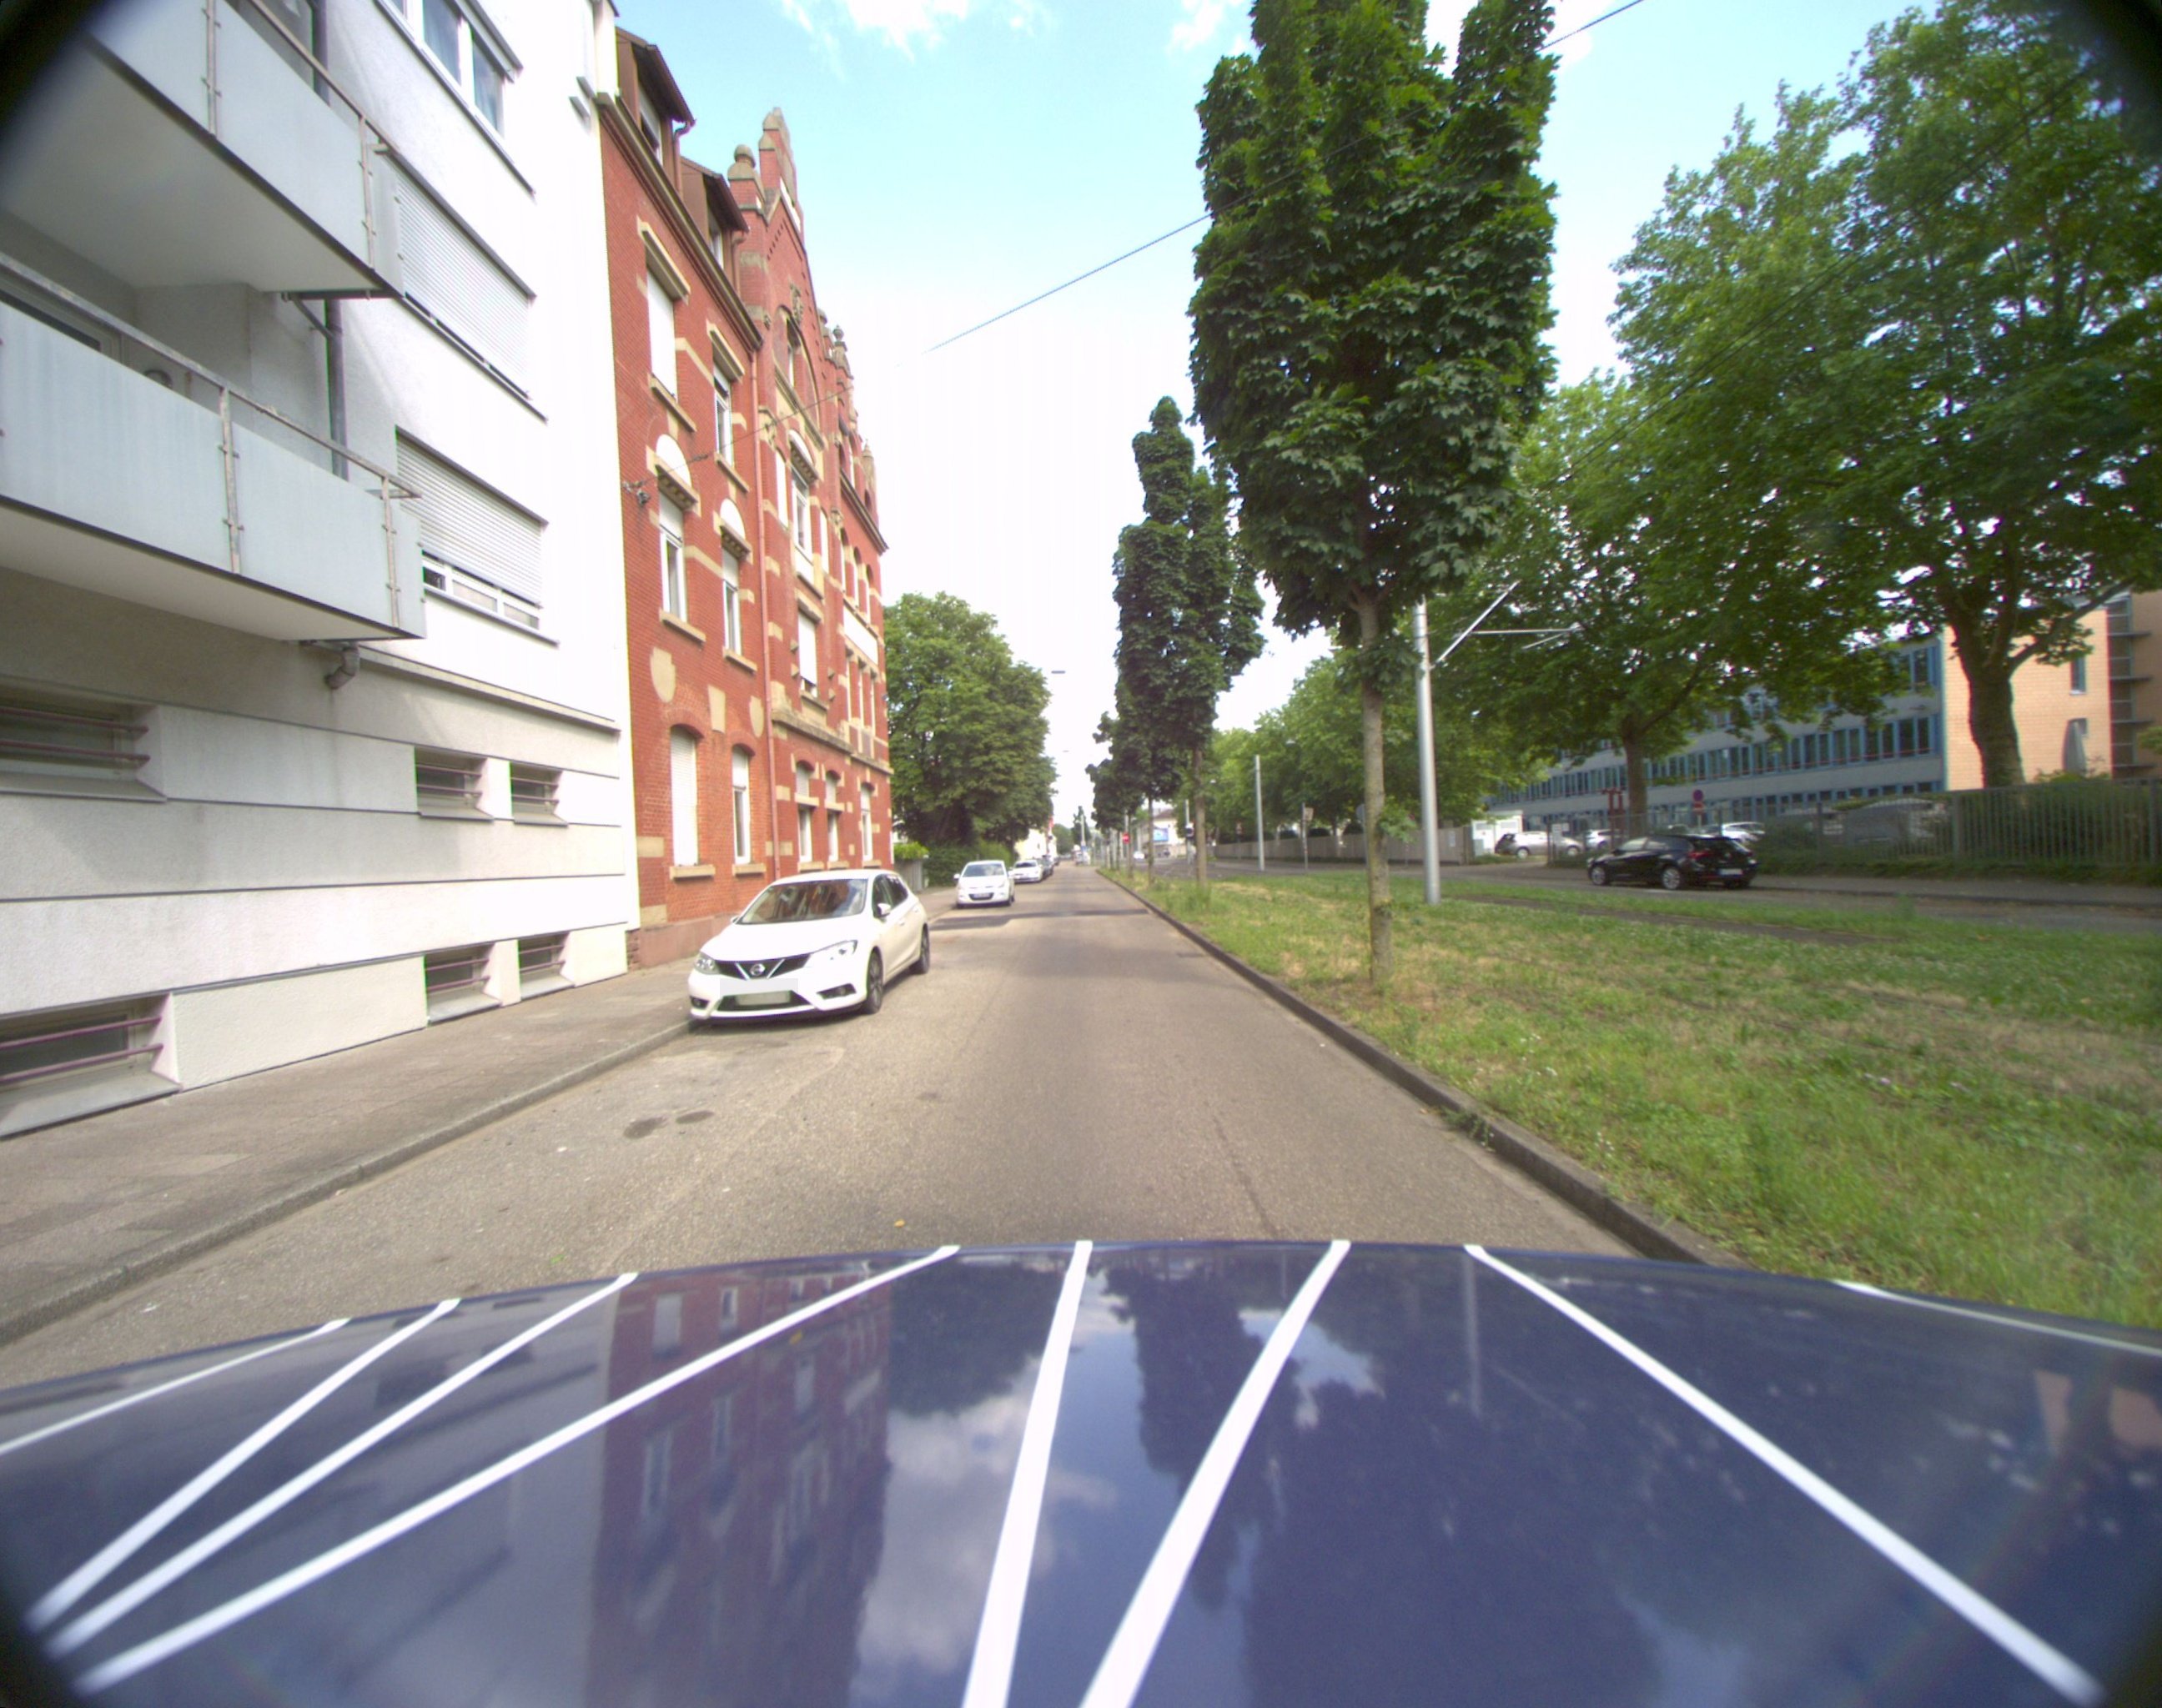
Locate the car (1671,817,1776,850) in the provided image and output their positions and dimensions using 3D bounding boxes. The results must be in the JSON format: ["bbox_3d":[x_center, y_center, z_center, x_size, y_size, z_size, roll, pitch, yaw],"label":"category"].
[{"bbox_3d":[34.567,-1.087,40.964,3.997,1.608,1.999,-2,1,-2],"label":"car"}]

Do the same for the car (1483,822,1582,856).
[{"bbox_3d":[23.823,-0.799,40.192,3.997,1.608,1.999,-2,1,-2],"label":"car"}]

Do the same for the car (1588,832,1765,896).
[{"bbox_3d":[15.560,0.225,20.156,1.601,1.455,4.000,-3,0,2],"label":"car"}]

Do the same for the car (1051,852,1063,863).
[{"bbox_3d":[-3.848,0.539,122.188,1.801,1.521,4.040,-5,0,0],"label":"car"}]

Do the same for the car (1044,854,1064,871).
[{"bbox_3d":[-2.724,0.881,78.166,1.801,1.521,4.040,-5,0,0],"label":"car"}]

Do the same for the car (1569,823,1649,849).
[{"bbox_3d":[35.383,-1.203,50.953,3.997,1.608,1.999,-2,1,-2],"label":"car"}]

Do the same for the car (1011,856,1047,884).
[{"bbox_3d":[-3.157,0.948,46.696,1.801,1.521,4.040,-5,0,0],"label":"car"}]

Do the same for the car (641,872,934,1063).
[{"bbox_3d":[-3.042,1.077,8.904,1.801,1.521,4.040,-3,0,0],"label":"car"}]

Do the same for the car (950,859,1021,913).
[{"bbox_3d":[-3.073,0.988,25.255,1.801,1.521,4.040,-4,0,0],"label":"car"}]

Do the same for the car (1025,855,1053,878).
[{"bbox_3d":[-3.197,0.910,58.456,1.801,1.521,4.040,-5,0,0],"label":"car"}]

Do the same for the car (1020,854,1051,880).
[{"bbox_3d":[-3.158,0.871,52.996,1.801,1.521,4.040,-5,0,0],"label":"car"}]

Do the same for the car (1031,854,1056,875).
[{"bbox_3d":[-3.129,0.860,63.869,1.801,1.521,4.040,-5,0,0],"label":"car"}]

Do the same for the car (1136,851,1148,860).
[{"bbox_3d":[11.823,0.291,147.488,1.801,1.521,4.040,-4,0,0],"label":"car"}]
